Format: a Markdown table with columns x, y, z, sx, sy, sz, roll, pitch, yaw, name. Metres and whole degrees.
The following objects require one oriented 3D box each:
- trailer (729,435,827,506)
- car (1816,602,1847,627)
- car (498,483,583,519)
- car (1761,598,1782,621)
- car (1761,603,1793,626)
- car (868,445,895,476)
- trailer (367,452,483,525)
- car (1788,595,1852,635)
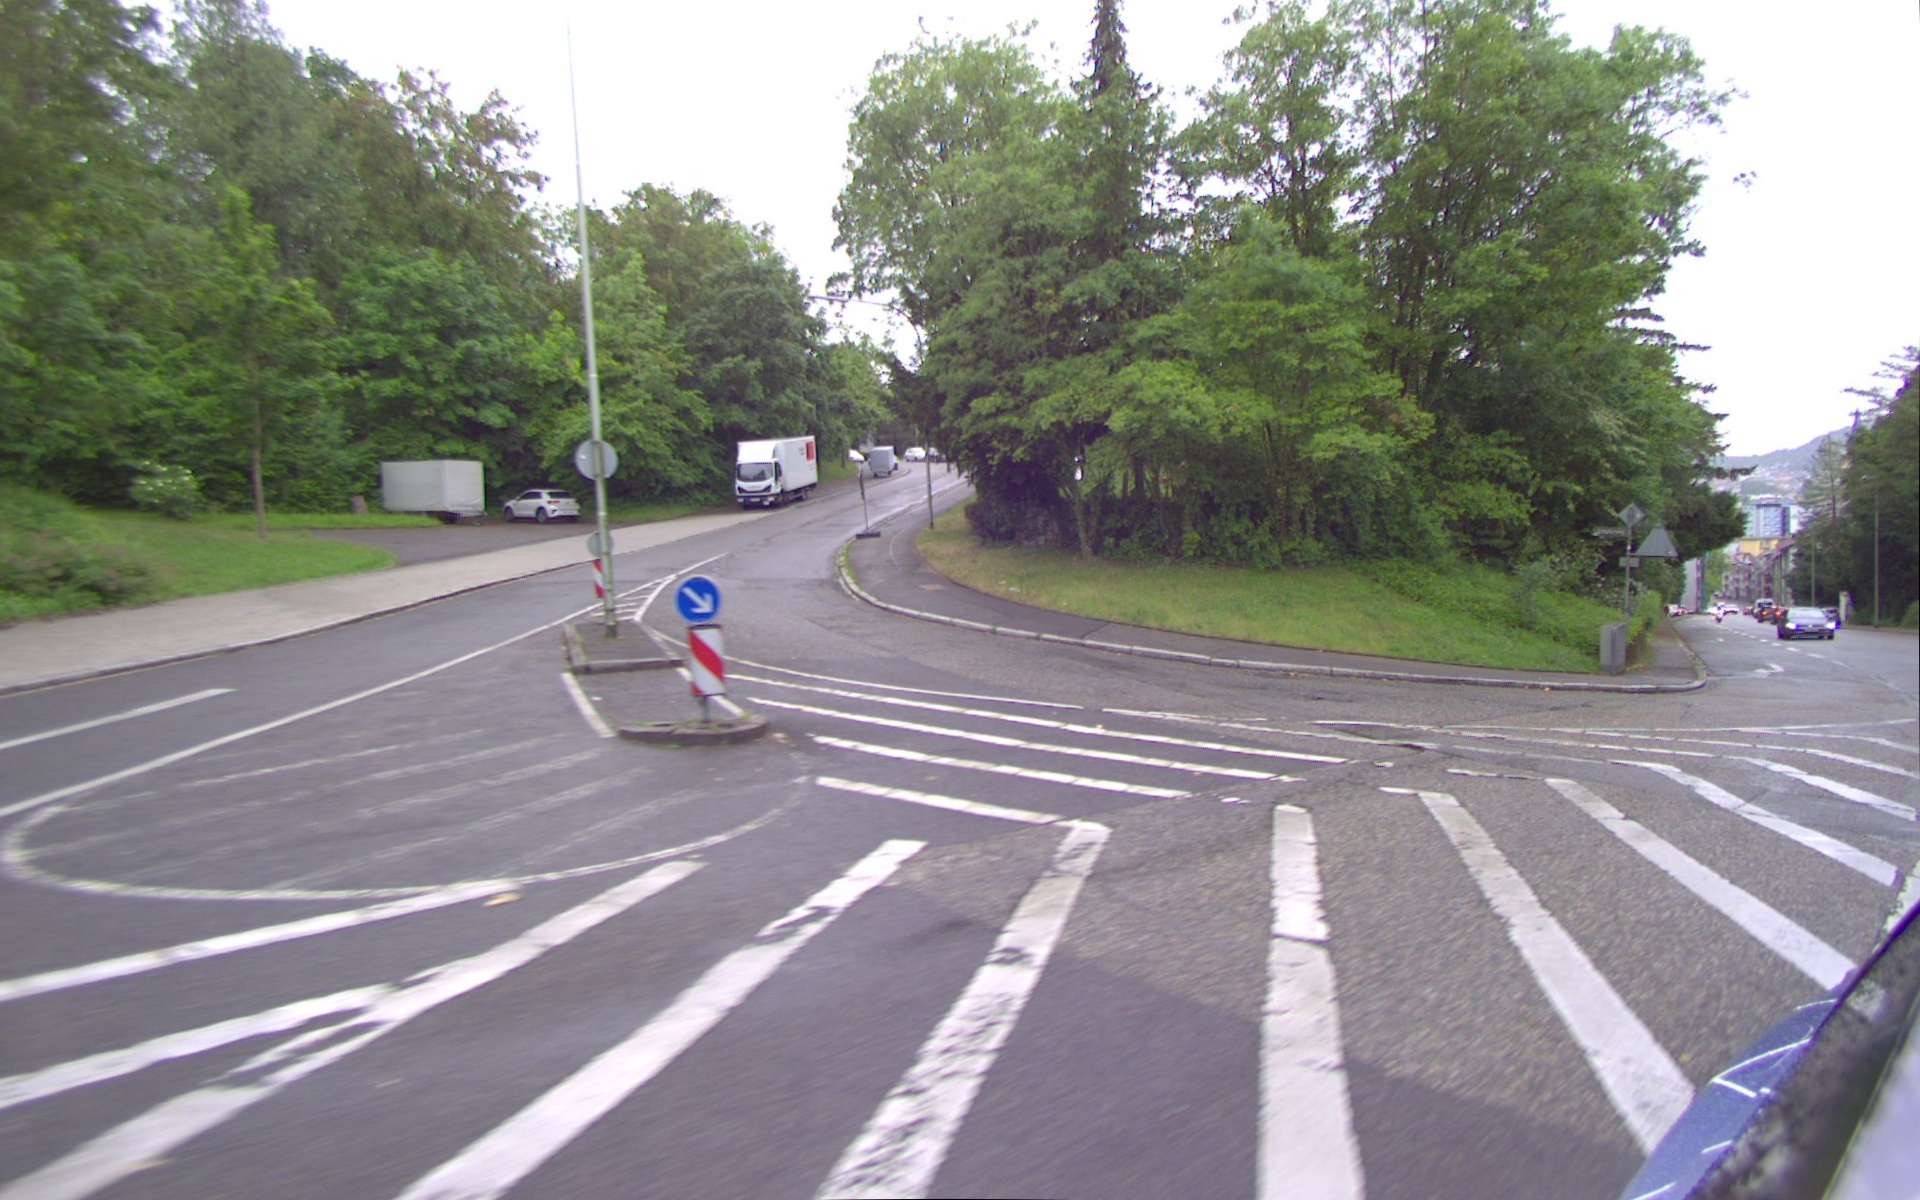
| x | y | z | sx | sy | sz | roll | pitch | yaw | name |
| --- | --- | --- | --- | --- | --- | --- | --- | --- | --- |
| -9.471 | -6.995 | 53.749 | 2.243 | 3.334 | 8.022 | 1 | 10 | 11 | trailer |
| 80.966 | 1.314 | 94.060 | 1.989 | 2.284 | 3.946 | 0 | 0 | 38 | car |
| -19.352 | -4.529 | 46.657 | 3.964 | 1.512 | 1.491 | 3 | 2 | 29 | car |
| 75.944 | 0.878 | 94.704 | 1.501 | 2.039 | 3.944 | 0 | 0 | 39 | car |
| 68.595 | 1.172 | 84.976 | 1.989 | 1.839 | 3.946 | 0 | 0 | 38 | car |
| -6.213 | -11.038 | 80.386 | 1.678 | 2.038 | 3.890 | 1 | 2 | 2 | car |
| -23.542 | -4.811 | 44.466 | 5.220 | 2.756 | 1.980 | 0 | 0 | 29 | trailer |
| 39.444 | 0.659 | 46.487 | 2.026 | 1.722 | 3.945 | 0 | 1 | 38 | car |
